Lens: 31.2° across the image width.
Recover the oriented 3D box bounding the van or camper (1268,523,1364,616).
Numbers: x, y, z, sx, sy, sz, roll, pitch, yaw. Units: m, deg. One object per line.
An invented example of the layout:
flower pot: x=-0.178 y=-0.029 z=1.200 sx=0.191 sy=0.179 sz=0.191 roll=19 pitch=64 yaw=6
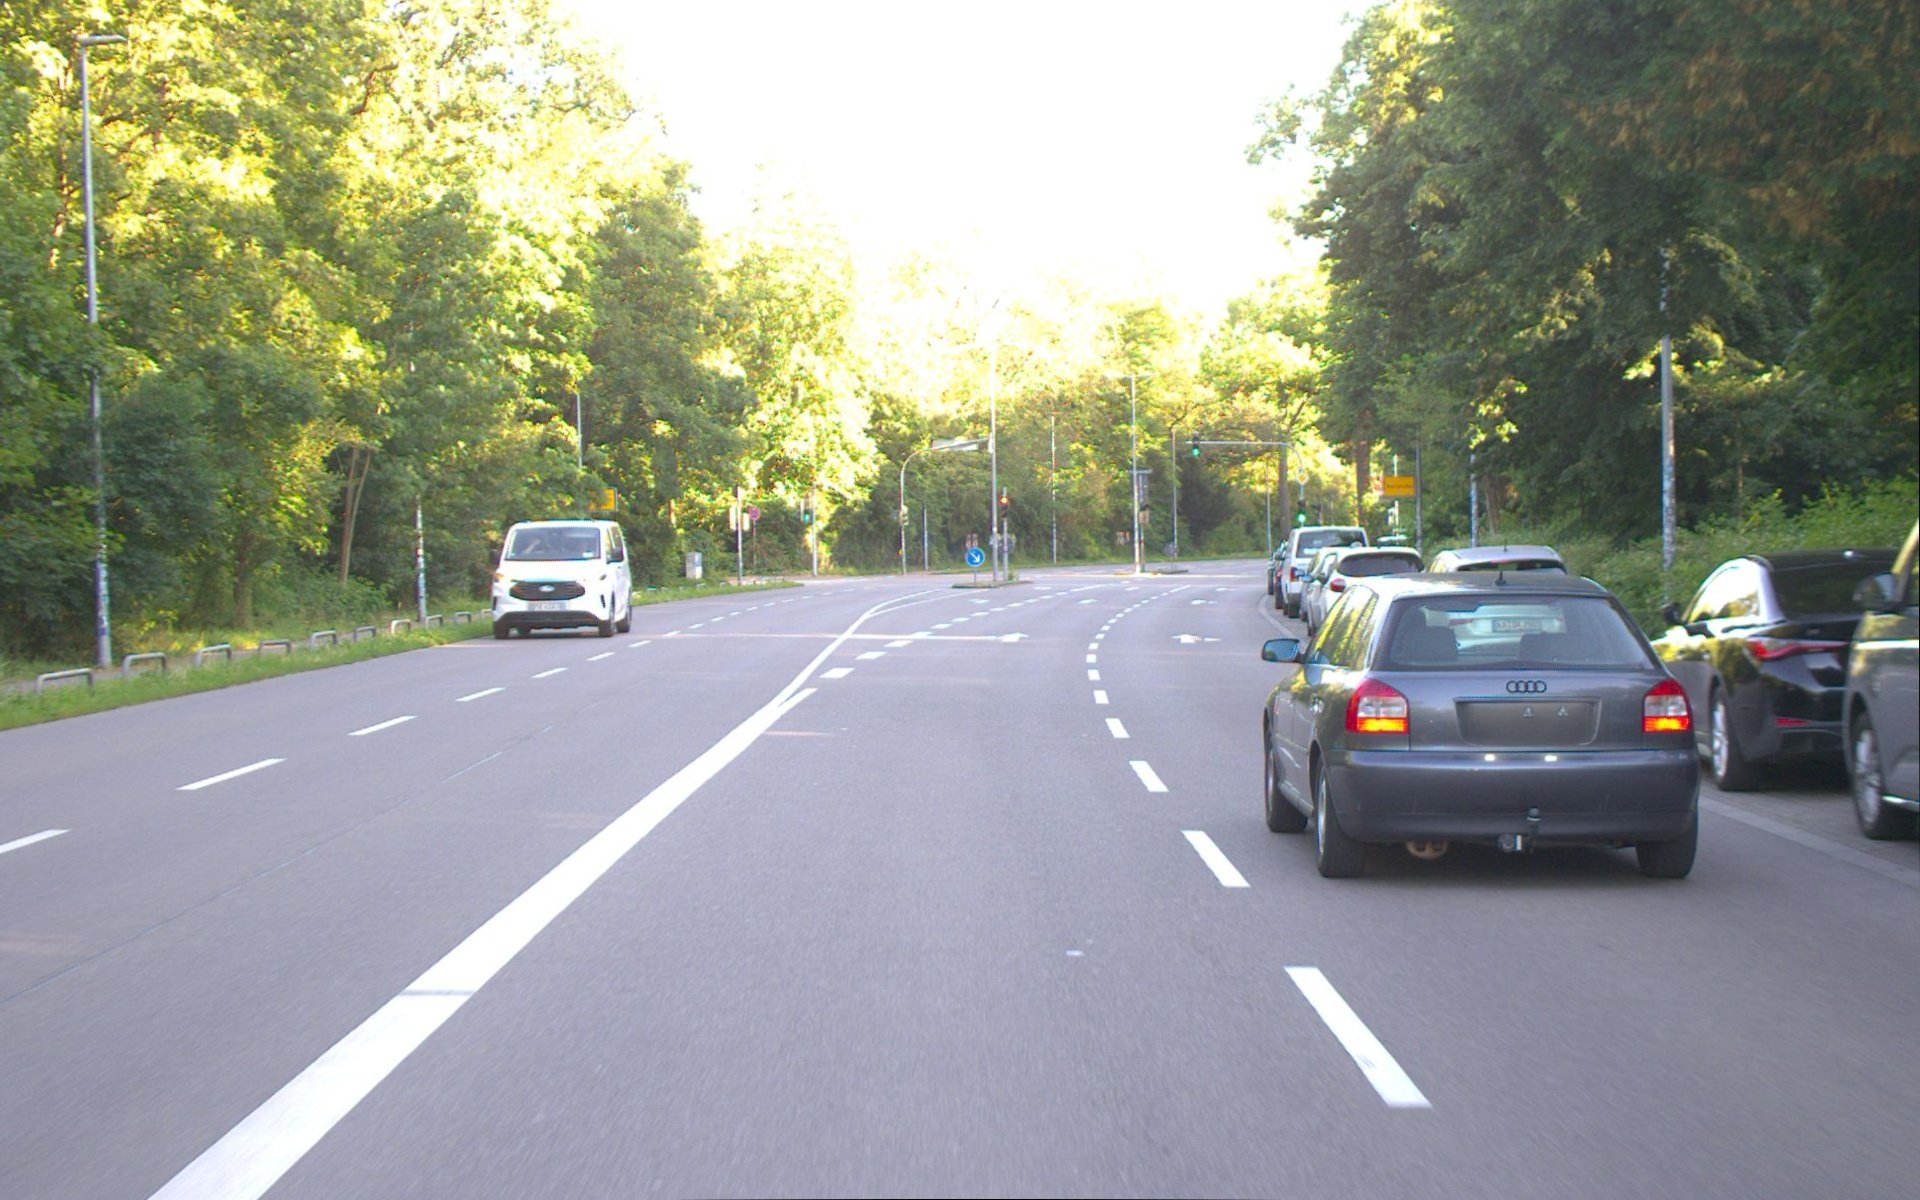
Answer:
van or camper: x=7.773 y=-0.685 z=75.367 sx=1.832 sy=1.963 sz=5.341 roll=0 pitch=1 yaw=3

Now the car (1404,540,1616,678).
car: x=6.053 y=0.055 z=38.285 sx=1.728 sy=1.436 sz=4.666 roll=0 pitch=1 yaw=2

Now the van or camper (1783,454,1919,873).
van or camper: x=5.387 y=0.272 z=16.068 sx=1.893 sy=1.942 sz=5.134 roll=-1 pitch=1 yaw=1

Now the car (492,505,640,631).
car: x=-6.637 y=-0.535 z=58.399 sx=1.993 sy=1.985 sz=4.998 roll=1 pitch=0 yaw=-1

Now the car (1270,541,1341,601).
car: x=8.510 y=-0.744 z=84.938 sx=1.650 sy=1.436 sz=4.112 roll=0 pitch=1 yaw=5

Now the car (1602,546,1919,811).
car: x=5.533 y=0.416 z=22.420 sx=1.838 sy=1.436 sz=4.957 roll=-3 pitch=1 yaw=2

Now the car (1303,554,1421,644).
car: x=6.713 y=-0.041 z=57.718 sx=1.728 sy=1.405 sz=4.089 roll=-1 pitch=1 yaw=4

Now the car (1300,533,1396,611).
car: x=7.806 y=-0.580 z=69.470 sx=1.648 sy=1.517 sz=3.866 roll=0 pitch=1 yaw=2

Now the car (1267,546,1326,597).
car: x=10.443 y=-0.904 z=106.590 sx=1.728 sy=1.456 sz=4.166 roll=-2 pitch=1 yaw=6

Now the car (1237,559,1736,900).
car: x=2.426 y=0.531 z=16.808 sx=1.727 sy=1.436 sz=4.090 roll=0 pitch=1 yaw=-1

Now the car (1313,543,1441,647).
car: x=6.394 y=-0.102 z=53.043 sx=1.728 sy=1.517 sz=4.089 roll=0 pitch=1 yaw=4
